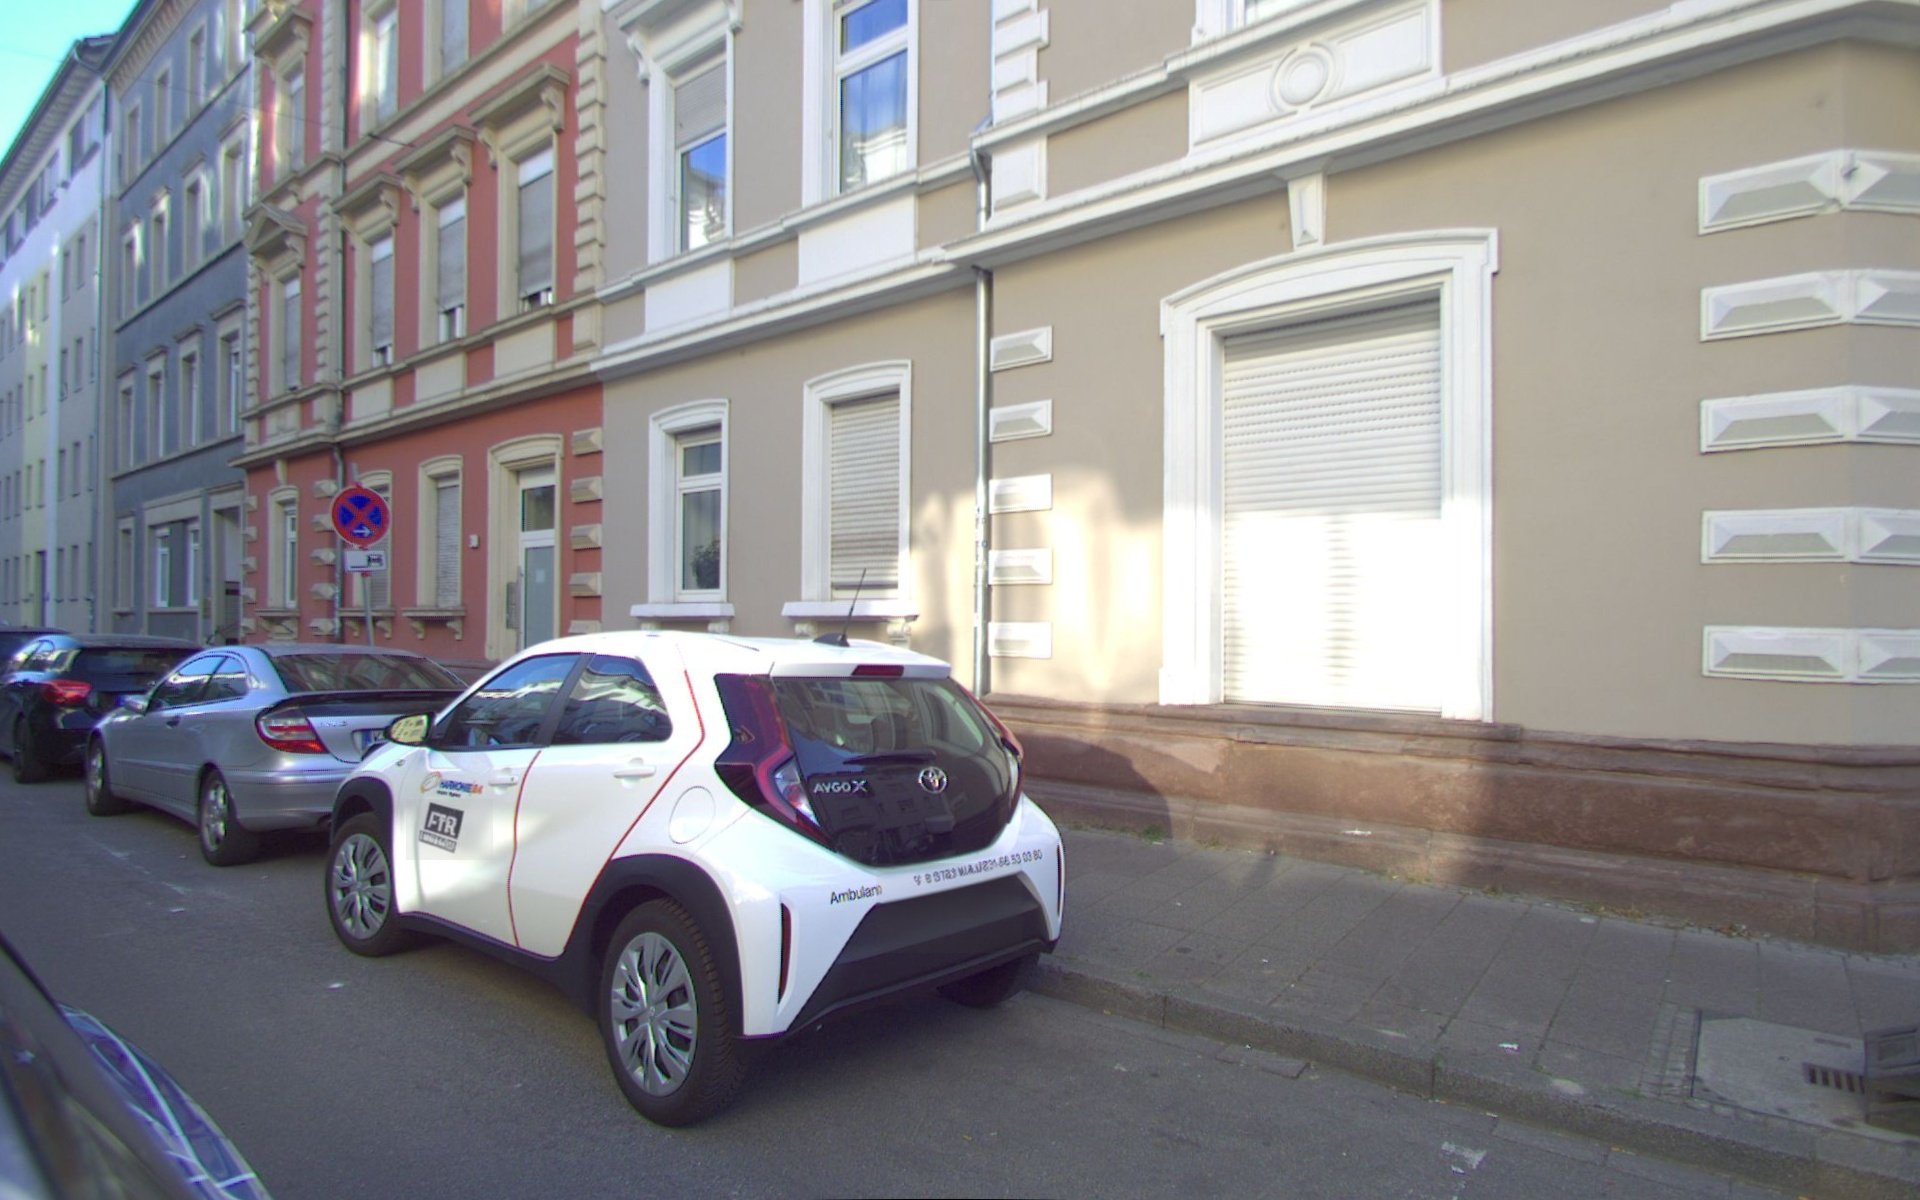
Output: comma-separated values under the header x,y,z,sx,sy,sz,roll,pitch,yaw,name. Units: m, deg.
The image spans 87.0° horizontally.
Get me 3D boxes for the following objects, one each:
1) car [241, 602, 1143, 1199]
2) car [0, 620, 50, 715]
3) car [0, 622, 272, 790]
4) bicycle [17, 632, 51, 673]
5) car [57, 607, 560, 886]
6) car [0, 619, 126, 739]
x,y,z,sx,sy,sz,roll,pitch,yaw,name
-1.506,0.861,4.676,4.263,1.519,1.901,-2,-4,40,car
-17.841,1.146,17.827,4.260,1.572,1.902,-1,-4,38,car
-9.441,1.034,11.065,4.260,1.495,1.902,-1,-4,38,car
-25.678,1.444,28.047,1.750,1.082,0.446,-1,-1,39,bicycle
-5.148,0.919,7.800,4.260,1.572,1.902,-1,-4,38,car
-14.061,1.094,14.845,4.234,1.572,1.883,-1,-4,38,car
